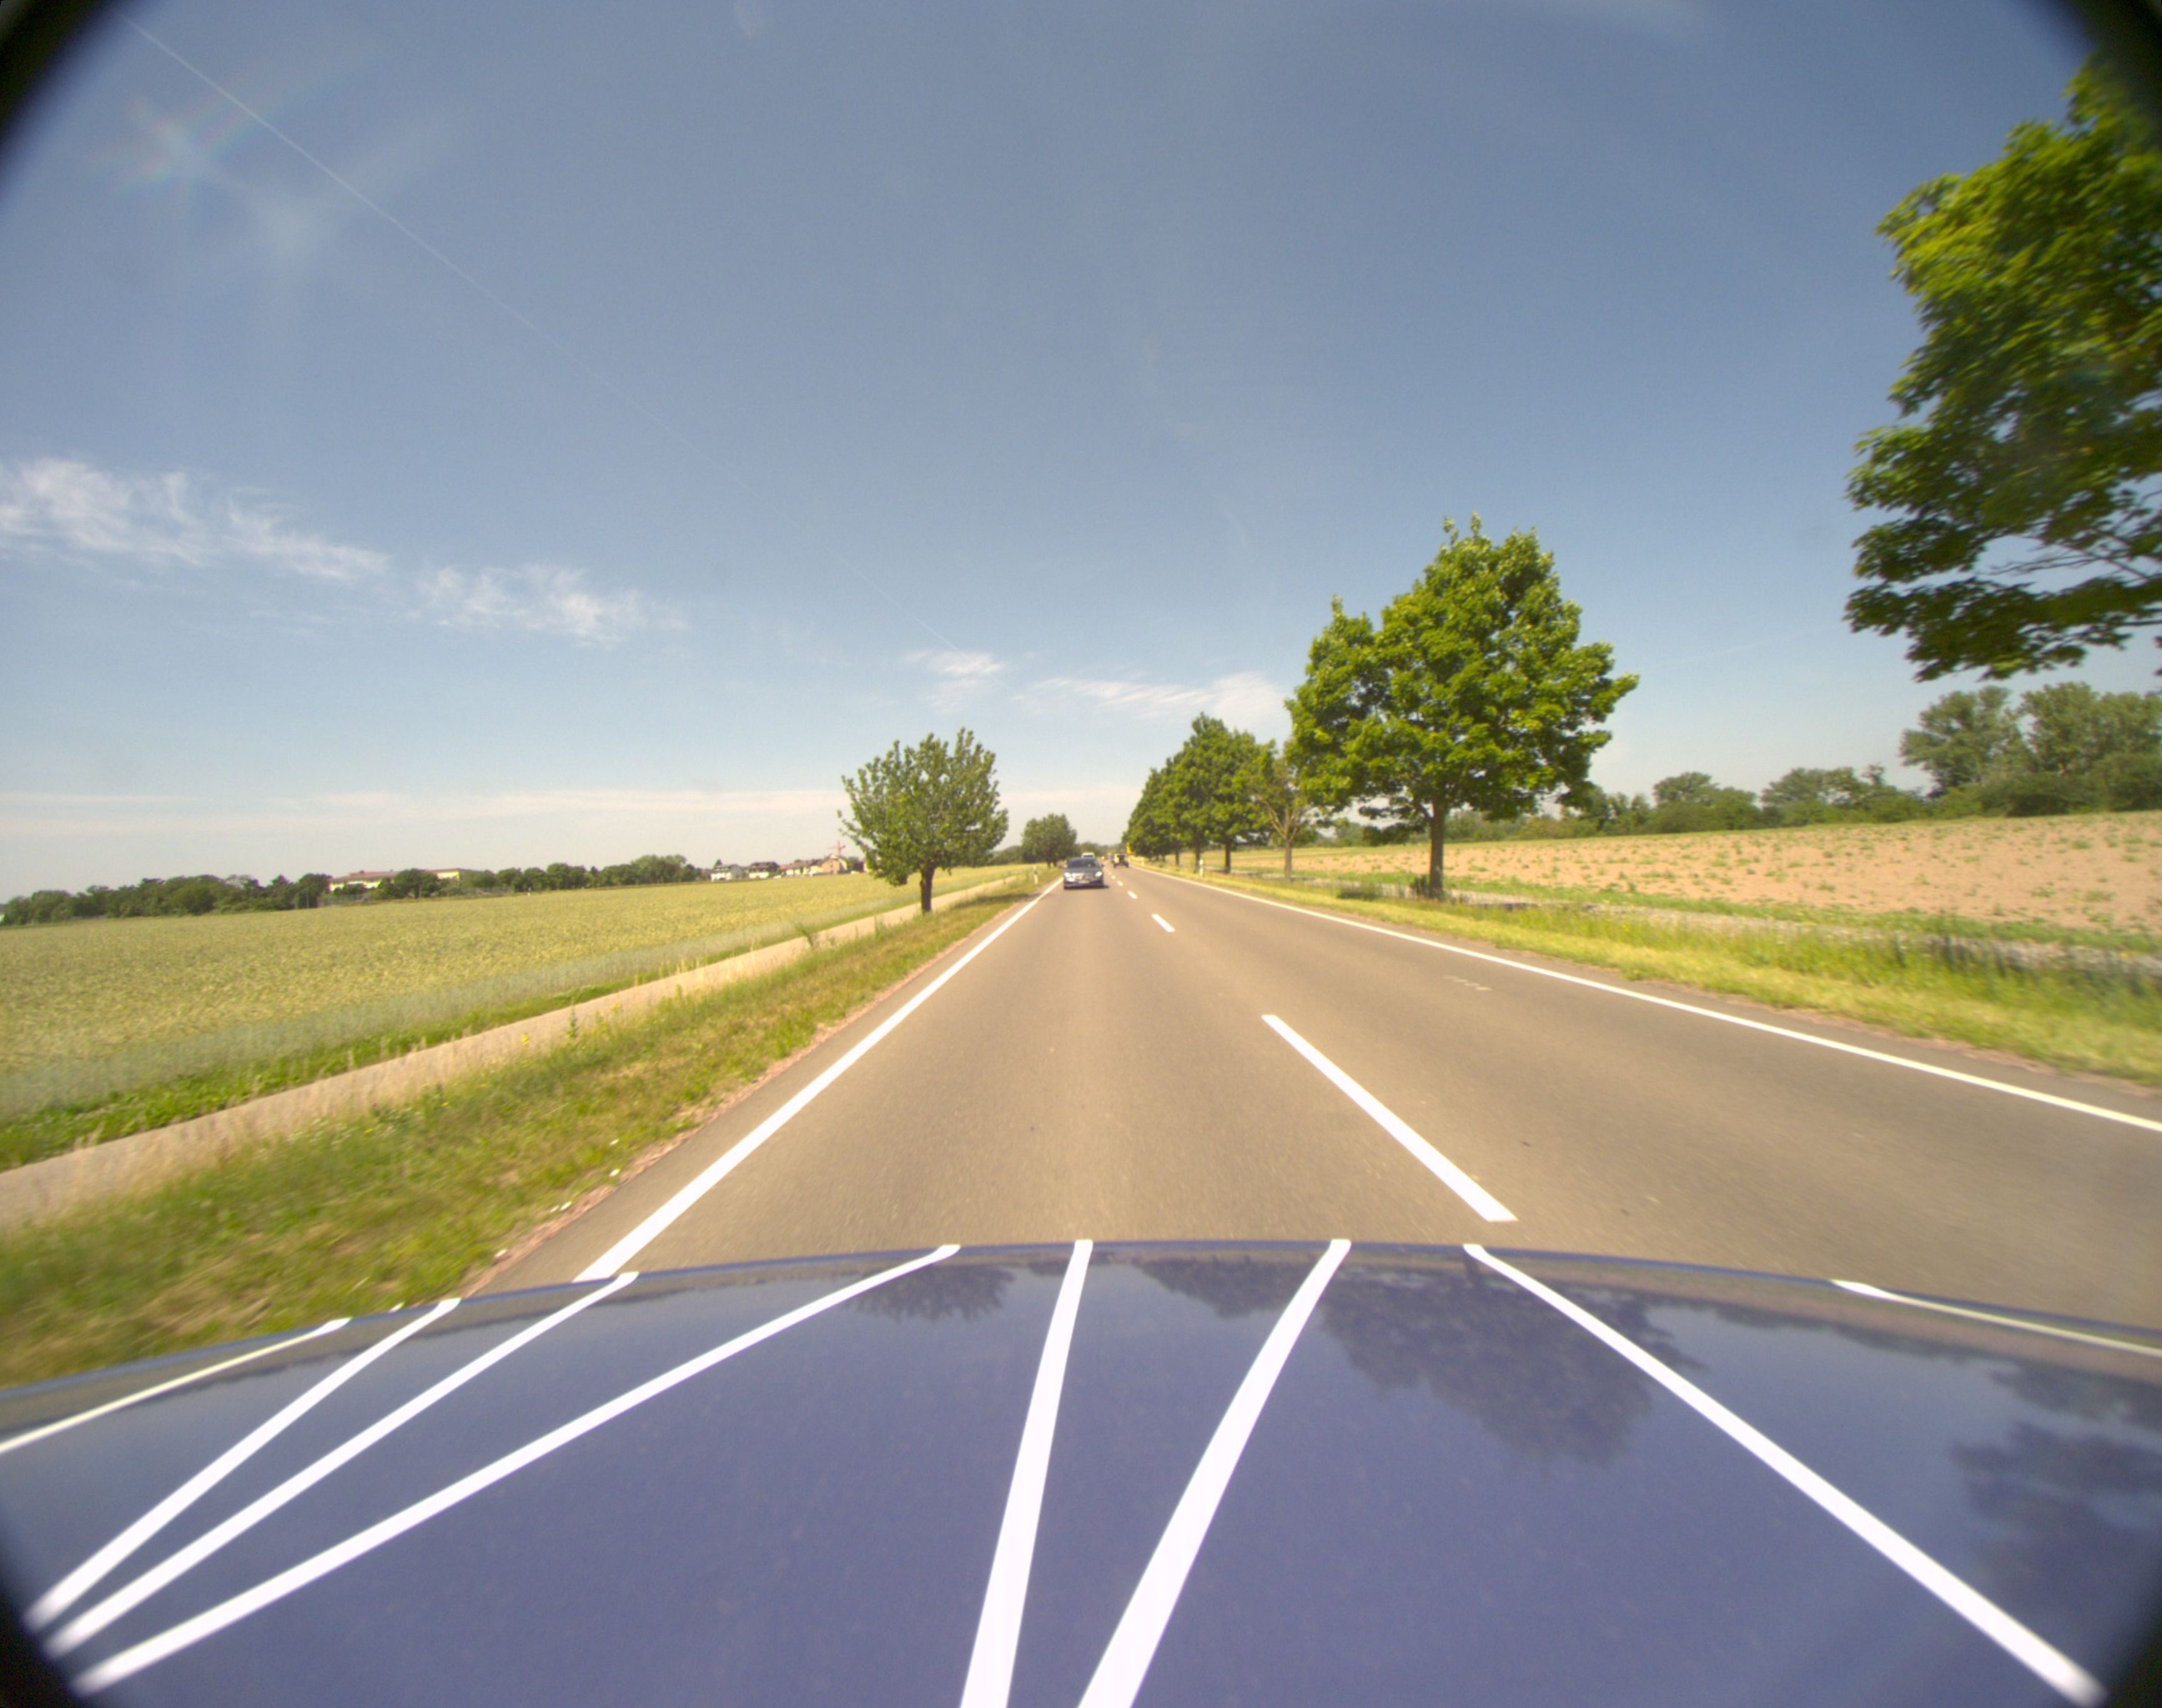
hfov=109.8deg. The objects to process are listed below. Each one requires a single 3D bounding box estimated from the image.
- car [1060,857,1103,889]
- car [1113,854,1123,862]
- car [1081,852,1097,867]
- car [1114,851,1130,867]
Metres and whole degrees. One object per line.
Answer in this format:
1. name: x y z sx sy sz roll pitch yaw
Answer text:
1. car: 0.082 0.857 36.612 1.953 1.390 4.000 -1 0 2
2. car: 6.871 0.767 141.467 1.826 1.412 4.589 -2 1 1
3. car: 1.210 0.752 107.130 1.998 1.907 4.207 -3 0 3
4. car: 4.908 0.552 90.432 1.685 1.838 4.000 -2 1 1
